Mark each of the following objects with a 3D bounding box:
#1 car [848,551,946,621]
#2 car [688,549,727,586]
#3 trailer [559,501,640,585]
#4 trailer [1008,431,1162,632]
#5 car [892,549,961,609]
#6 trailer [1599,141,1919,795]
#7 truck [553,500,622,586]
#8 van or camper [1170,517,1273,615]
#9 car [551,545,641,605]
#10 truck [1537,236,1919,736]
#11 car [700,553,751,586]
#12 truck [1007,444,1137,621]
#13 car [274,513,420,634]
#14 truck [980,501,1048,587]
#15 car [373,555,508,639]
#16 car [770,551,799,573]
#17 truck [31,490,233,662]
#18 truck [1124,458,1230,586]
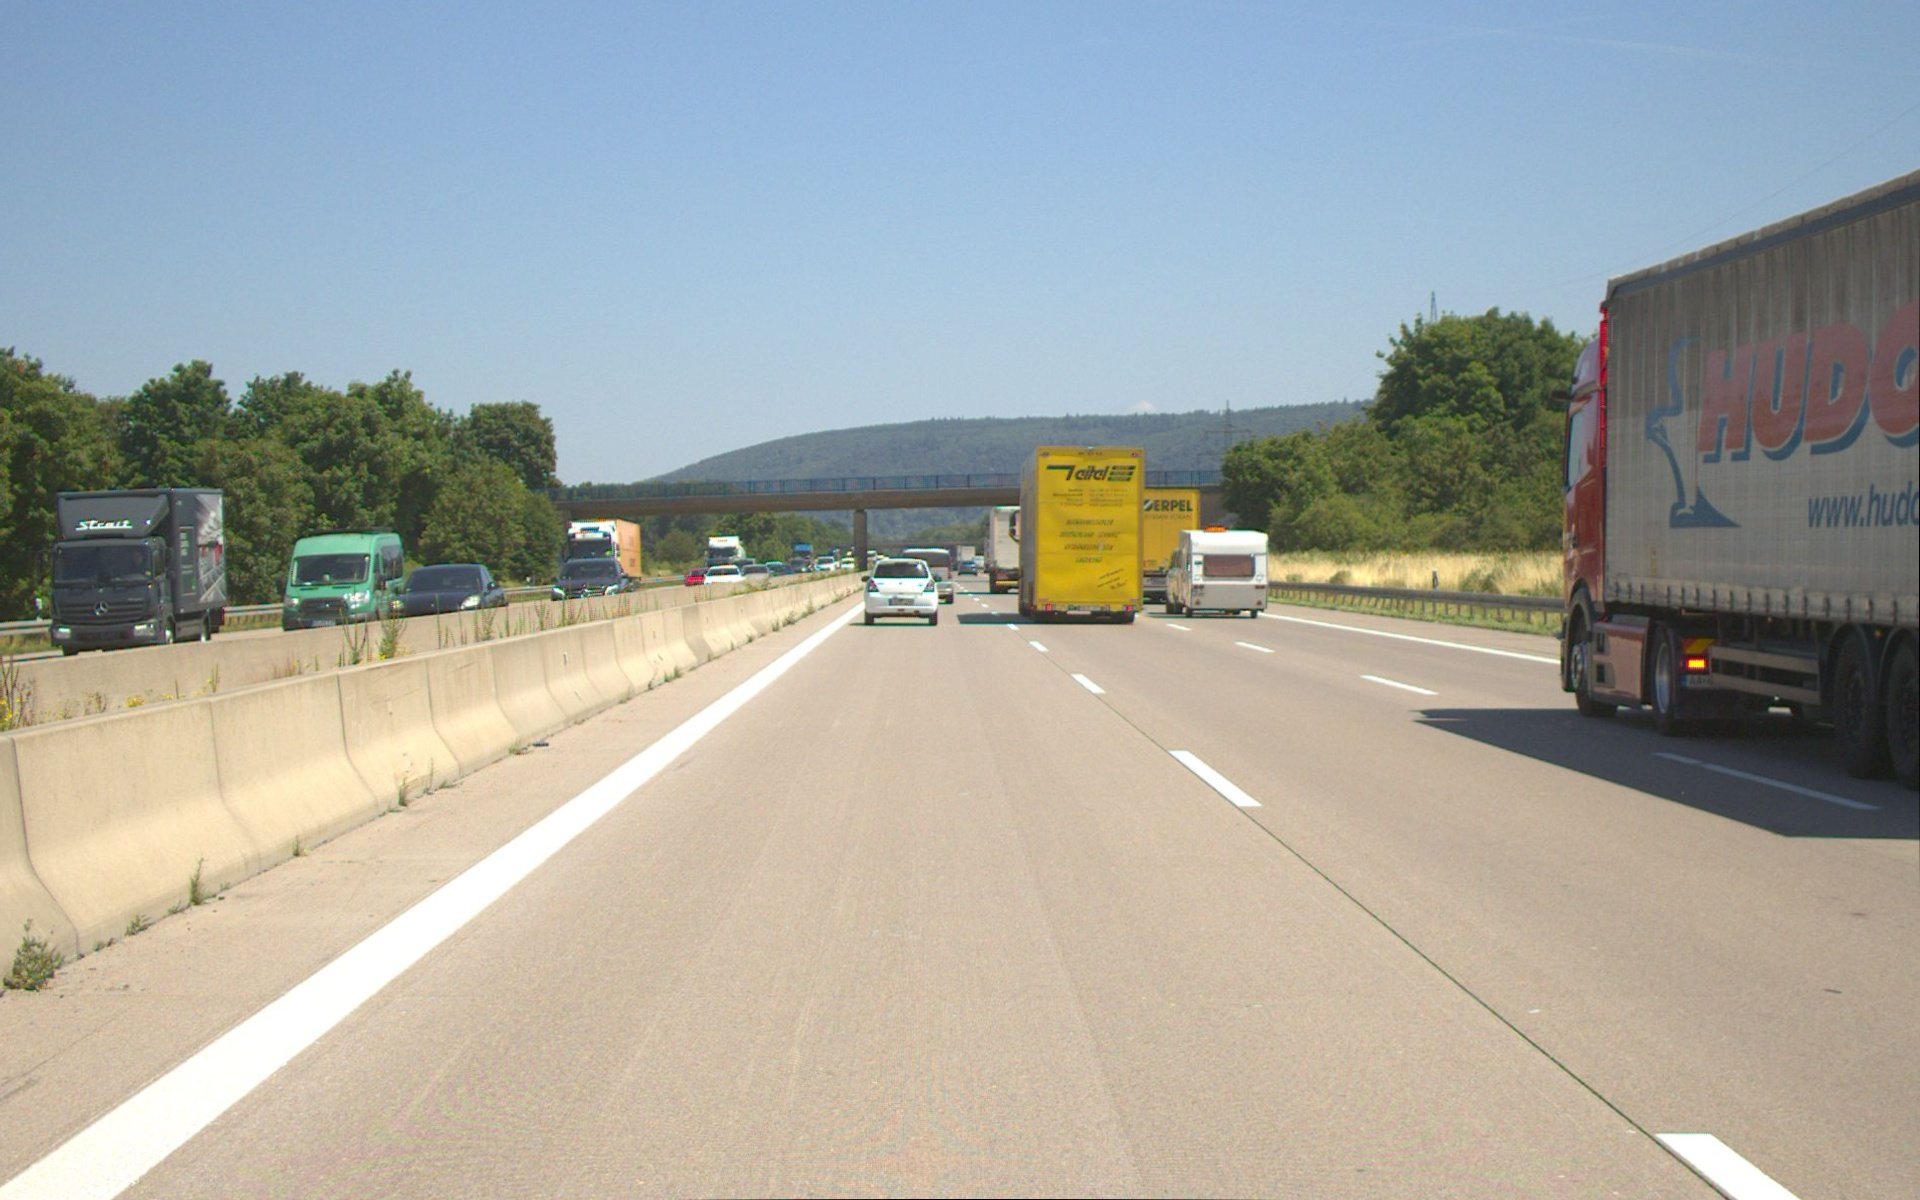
[{"bbox_3d":[-1.433,-0.335,79.505,2.107,1.530,4.122,1,1,1],"label":"car"},{"bbox_3d":[-14.007,-1.800,190.790,1.993,2.007,4.001,-1,1,-3],"label":"car"},{"bbox_3d":[-18.971,-2.993,181.733,2.873,4.183,14.141,-2,1,-1],"label":"trailer"},{"bbox_3d":[2.952,-1.676,85.384,3.216,4.548,13.457,1,1,0],"label":"trailer"},{"bbox_3d":[-1.136,-0.742,118.746,2.254,2.007,4.298,1,1,0],"label":"car"},{"bbox_3d":[7.389,-0.866,24.615,2.873,4.086,13.513,1,1,-1],"label":"trailer"},{"bbox_3d":[-18.881,-2.885,174.454,2.868,4.181,5.230,-2,1,-1],"label":"truck"},{"bbox_3d":[6.949,-0.927,91.792,2.224,2.522,5.431,1,1,-1],"label":"van or camper"},{"bbox_3d":[-9.998,-0.707,94.808,1.993,1.571,4.849,1,1,-1],"label":"car"},{"bbox_3d":[7.334,-0.982,31.439,2.905,4.086,6.272,1,1,-1],"label":"truck"},{"bbox_3d":[-10.653,-1.401,156.218,1.993,1.359,4.670,-2,1,-1],"label":"car"},{"bbox_3d":[2.944,-1.793,92.318,3.216,4.548,5.836,1,1,0],"label":"truck"},{"bbox_3d":[-13.523,-0.613,76.213,2.149,2.542,6.464,-1,1,-1],"label":"car"},{"bbox_3d":[2.385,-2.507,153.551,2.820,3.748,6.284,1,1,-1],"label":"truck"},{"bbox_3d":[-10.074,-0.080,67.030,1.940,1.552,4.889,-1,1,-1],"label":"car"},{"bbox_3d":[-11.070,-2.389,216.917,1.690,1.327,4.000,1,1,-1],"label":"car"},{"bbox_3d":[-18.065,-0.560,75.495,2.554,3.500,7.885,-2,1,-1],"label":"truck"},{"bbox_3d":[7.607,-2.743,121.725,2.999,4.299,9.684,1,1,0],"label":"truck"}]
